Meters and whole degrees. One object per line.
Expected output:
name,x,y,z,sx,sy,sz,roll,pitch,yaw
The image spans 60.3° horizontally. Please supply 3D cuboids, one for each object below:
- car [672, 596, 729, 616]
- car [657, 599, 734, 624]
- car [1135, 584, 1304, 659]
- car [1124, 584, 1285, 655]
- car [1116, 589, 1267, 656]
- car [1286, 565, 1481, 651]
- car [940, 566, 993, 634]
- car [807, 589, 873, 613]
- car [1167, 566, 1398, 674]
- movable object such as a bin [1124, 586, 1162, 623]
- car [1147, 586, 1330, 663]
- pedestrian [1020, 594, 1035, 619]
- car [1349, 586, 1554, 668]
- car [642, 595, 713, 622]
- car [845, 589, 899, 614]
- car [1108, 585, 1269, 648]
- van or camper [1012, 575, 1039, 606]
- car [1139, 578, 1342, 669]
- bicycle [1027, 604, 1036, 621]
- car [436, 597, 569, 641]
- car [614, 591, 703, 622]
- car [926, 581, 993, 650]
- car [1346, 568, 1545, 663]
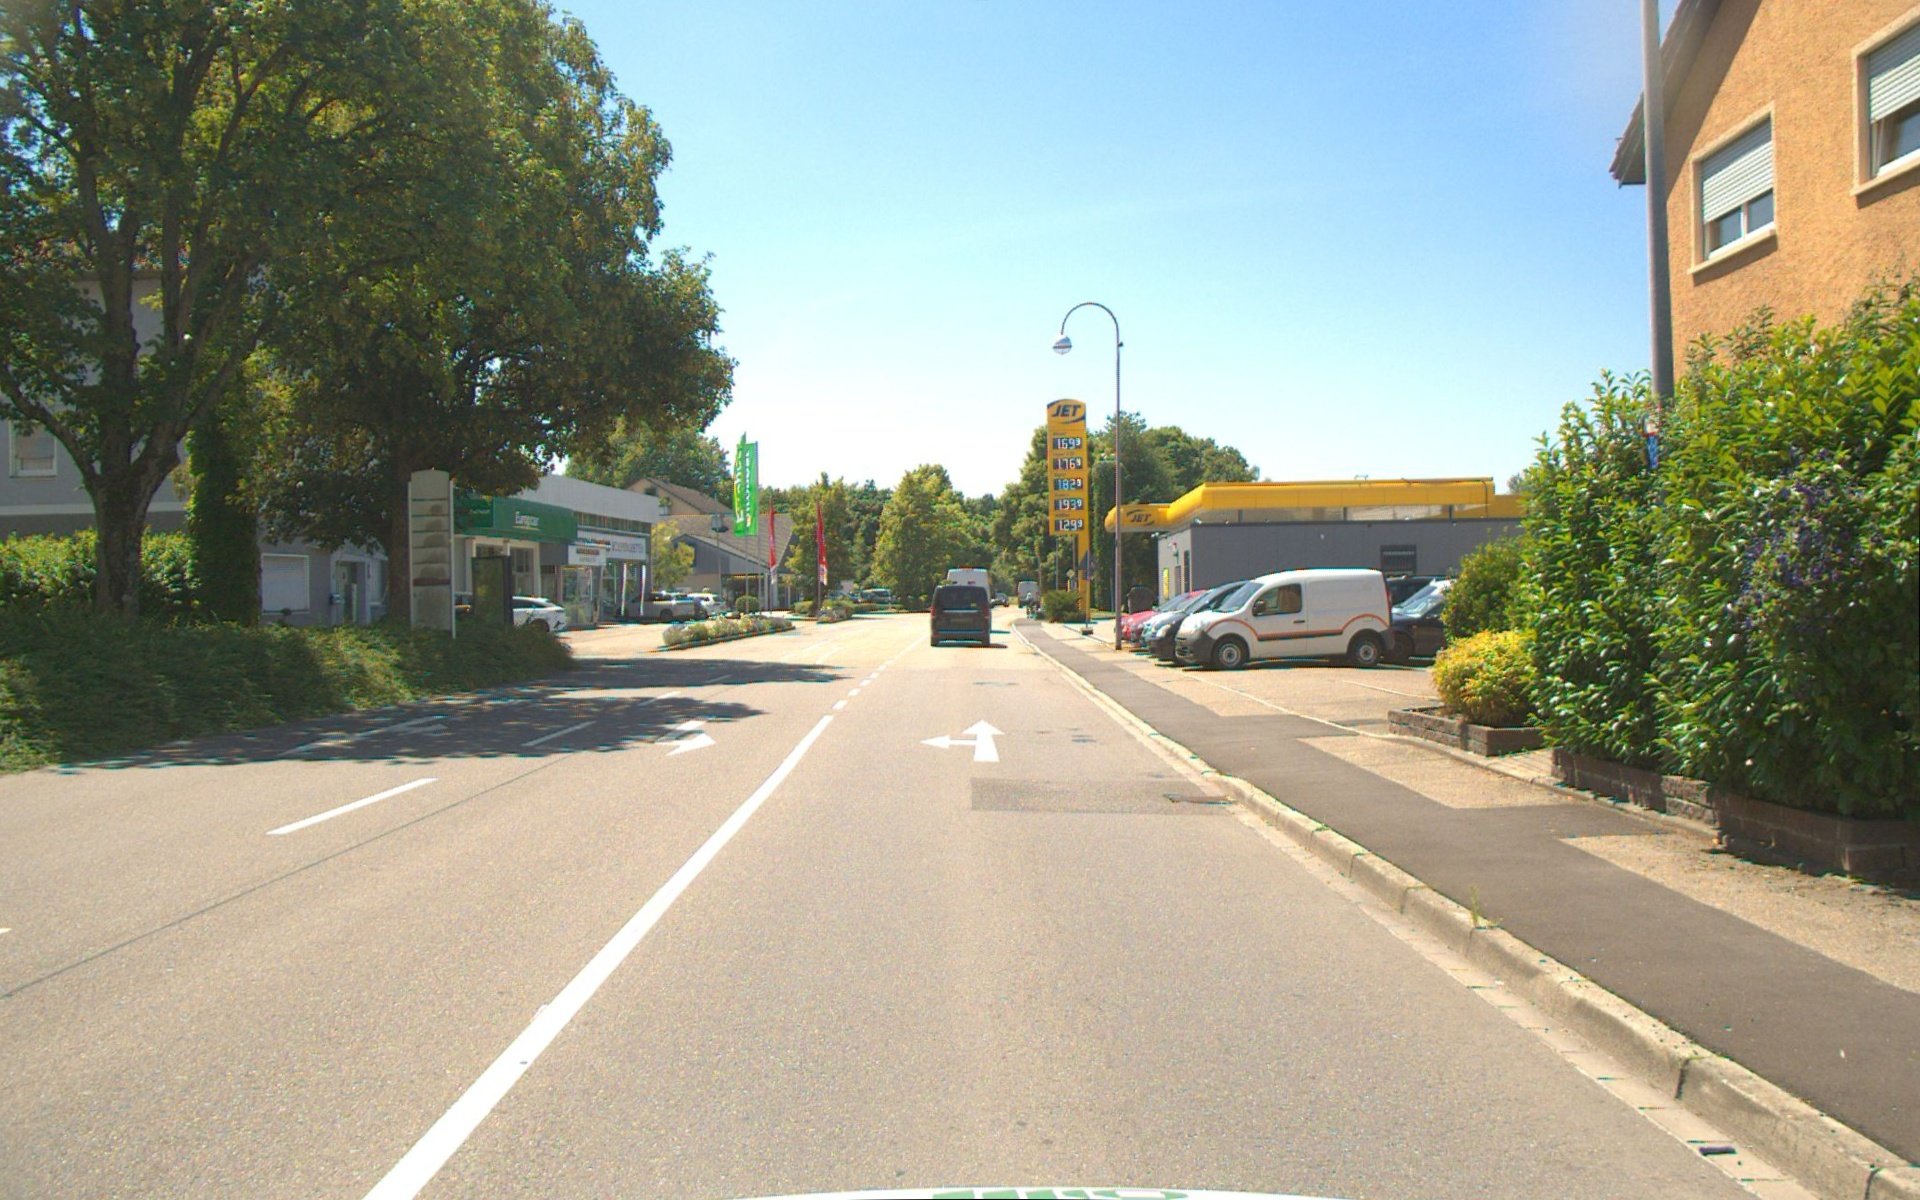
car,-20.683,0.474,132.146,4.223,1.557,1.828,0,-1,1
car,-15.907,0.705,99.524,4.095,1.472,1.981,0,0,17
car,5.986,0.475,38.416,3.610,1.594,1.641,-2,0,-2
car,5.980,0.454,40.685,3.611,1.594,1.749,-2,0,-4
car,5.991,0.562,42.992,3.611,1.594,1.707,-2,0,-3
car,10.461,0.187,41.046,4.253,1.929,1.971,2,0,-3
car,0.318,0.014,70.037,2.035,2.750,4.667,1,0,2
car,-9.081,0.081,125.588,4.607,1.793,2.100,0,-1,9
car,6.187,0.358,31.975,4.054,1.972,1.806,-1,0,-5
movable object such as a bin,7.614,0.190,68.773,1.404,1.463,1.468,-2,0,1
car,6.067,0.510,36.331,3.714,1.536,1.834,-2,1,1
pedestrian,3.963,0.380,96.833,0.752,1.446,0.868,0,0,9
car,10.068,0.534,34.050,3.535,1.493,1.947,2,0,-5
car,-16.507,0.489,96.736,3.550,1.500,2.001,0,0,19
car,-7.186,0.163,135.750,4.265,2.015,1.905,0,-1,2
car,6.233,0.425,45.460,4.138,1.561,1.958,-2,1,-1
van or camper,6.495,-0.928,165.500,2.577,2.980,5.207,1,0,1
car,5.729,0.452,34.068,3.798,1.710,1.762,-2,0,-3
bicycle,4.205,0.732,96.704,0.370,0.928,1.599,0,0,8
car,-15.919,0.640,57.540,4.280,1.464,1.927,-1,0,-22
car,-16.714,0.363,91.749,4.436,1.693,2.001,0,0,19
car,0.024,0.451,51.405,1.952,1.987,5.005,1,0,1
car,10.545,0.317,36.092,3.813,1.870,1.689,2,0,1
